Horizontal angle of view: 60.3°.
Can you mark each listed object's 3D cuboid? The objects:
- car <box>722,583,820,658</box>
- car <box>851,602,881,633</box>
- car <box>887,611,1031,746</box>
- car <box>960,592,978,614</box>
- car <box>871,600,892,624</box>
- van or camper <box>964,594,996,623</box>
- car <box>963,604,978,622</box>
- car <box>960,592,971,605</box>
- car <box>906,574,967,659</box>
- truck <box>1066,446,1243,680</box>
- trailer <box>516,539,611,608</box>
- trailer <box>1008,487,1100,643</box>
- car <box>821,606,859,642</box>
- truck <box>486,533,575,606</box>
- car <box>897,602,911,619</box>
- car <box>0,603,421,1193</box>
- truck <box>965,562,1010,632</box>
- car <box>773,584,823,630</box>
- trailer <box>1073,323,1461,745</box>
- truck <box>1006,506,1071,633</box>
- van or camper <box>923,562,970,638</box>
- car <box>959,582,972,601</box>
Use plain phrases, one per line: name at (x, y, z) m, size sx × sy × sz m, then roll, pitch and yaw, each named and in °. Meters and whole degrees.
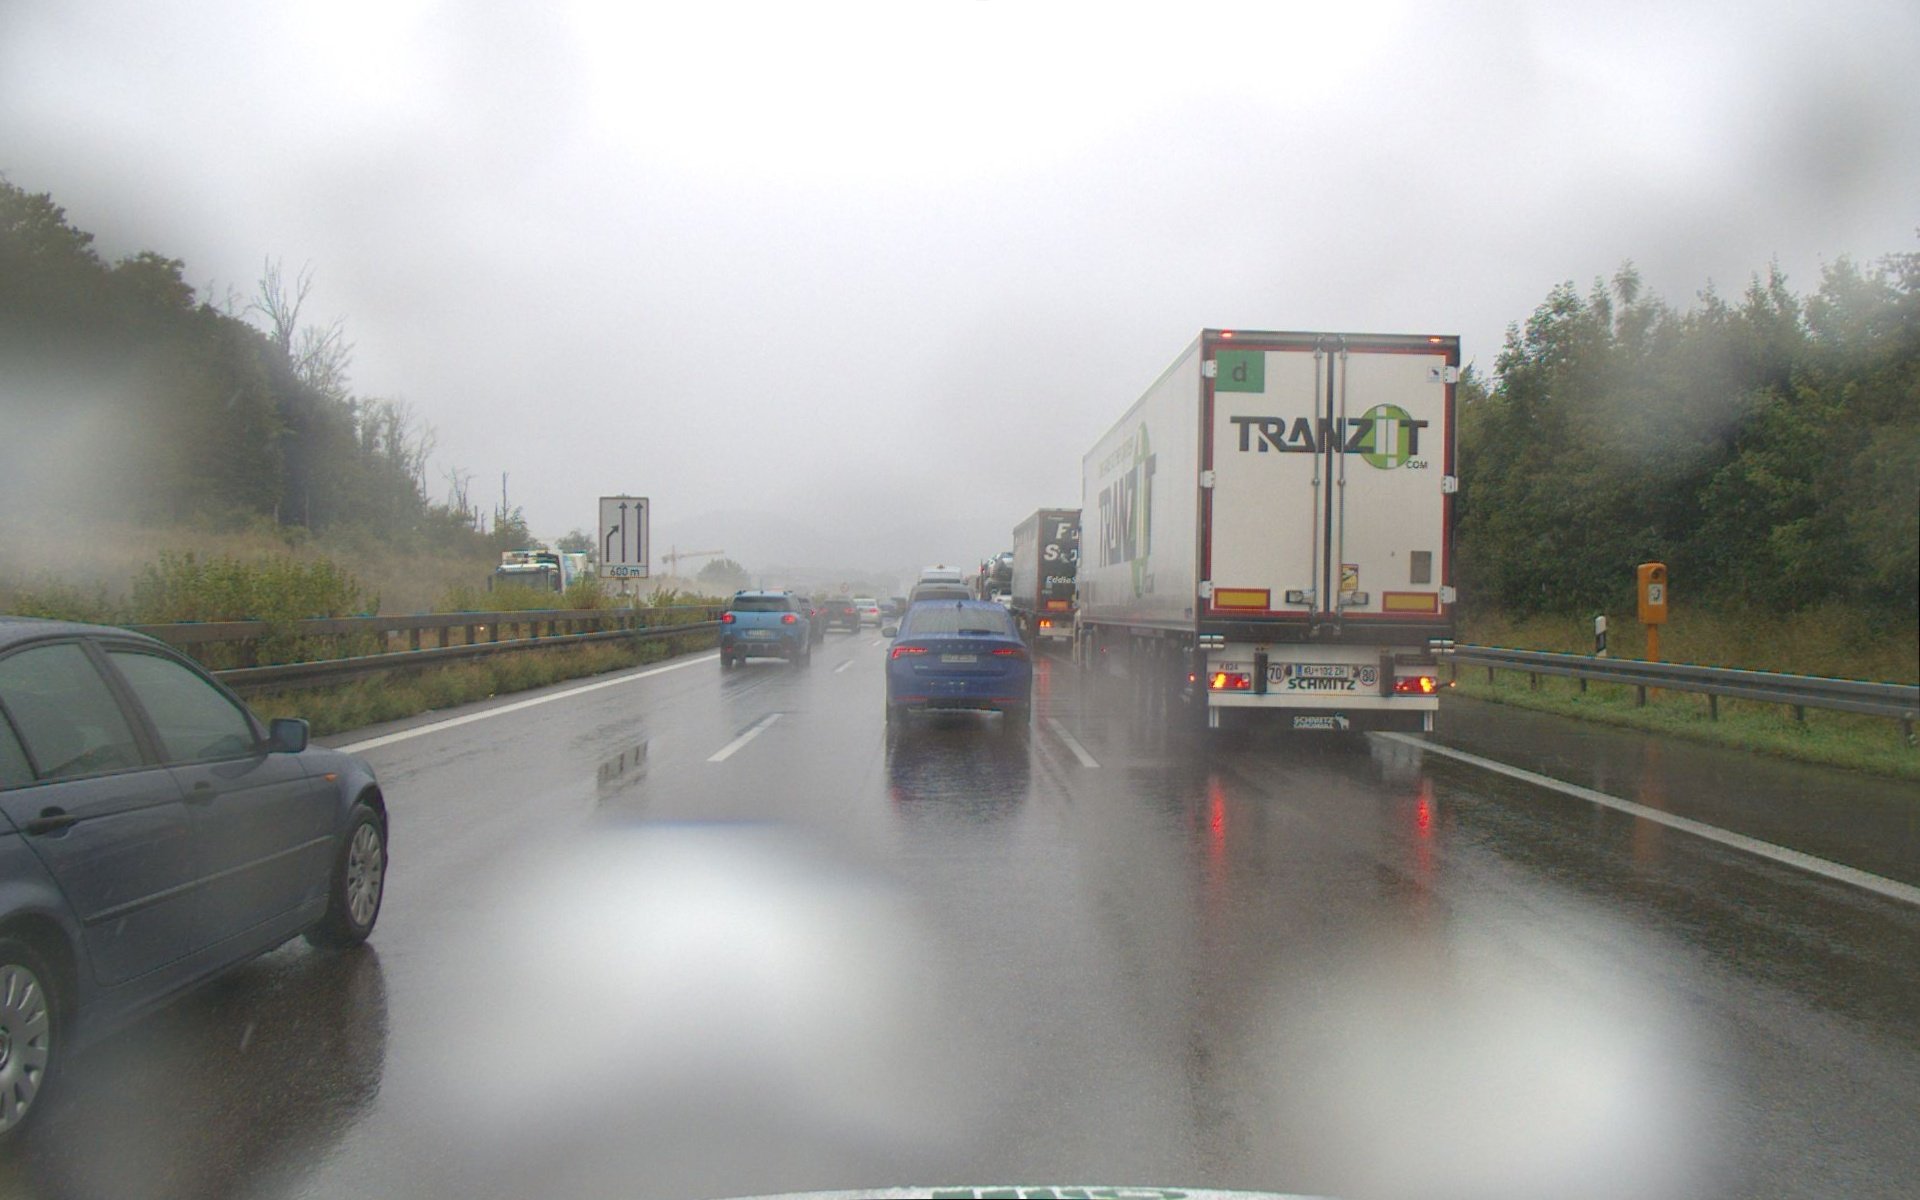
car at (-4.106, 0.427, 36.522) m, size 1.686 × 1.550 × 4.000 m, roll 0°, pitch 0°, yaw 0°
car at (-4.879, 0.878, 85.970) m, size 1.410 × 1.560 × 3.321 m, roll 0°, pitch 0°, yaw -1°
car at (-0.013, 0.897, 20.550) m, size 1.602 × 1.470 × 4.000 m, roll 0°, pitch 0°, yaw 0°
car at (0.757, 0.282, 138.076) m, size 1.419 × 1.815 × 3.408 m, roll 1°, pitch 0°, yaw -1°
car at (-5.867, 0.887, 123.818) m, size 1.419 × 1.815 × 3.408 m, roll 1°, pitch 0°, yaw -1°
van or camper at (1.140, 0.479, 96.669) m, size 1.736 × 1.653 × 4.483 m, roll 0°, pitch 1°, yaw -1°
car at (0.960, 1.125, 149.662) m, size 1.223 × 1.538 × 3.107 m, roll 0°, pitch 1°, yaw -1°
car at (0.747, -0.186, 227.482) m, size 1.419 × 1.815 × 3.408 m, roll 1°, pitch 0°, yaw -1°
car at (-0.529, 0.347, 37.213) m, size 1.309 × 1.811 × 3.321 m, roll 0°, pitch 0°, yaw -1°
truck at (3.406, -0.639, 30.063) m, size 2.577 × 3.894 × 4.790 m, roll 0°, pitch 0°, yaw -1°
trailer at (-17.651, -1.094, 74.076) m, size 2.430 × 2.767 × 7.323 m, roll -1°, pitch -1°, yaw 0°
trailer at (2.748, -0.991, 50.970) m, size 2.005 × 4.250 × 11.446 m, roll 0°, pitch 0°, yaw -1°
car at (-5.125, 1.005, 70.875) m, size 1.410 × 1.445 × 3.321 m, roll 0°, pitch 0°, yaw -1°
truck at (-17.662, -1.225, 68.240) m, size 2.430 × 2.767 × 4.527 m, roll -1°, pitch -1°, yaw 0°
car at (-6.323, 1.170, 186.539) m, size 1.419 × 1.815 × 3.408 m, roll 1°, pitch 0°, yaw -1°
car at (-3.233, 0.735, 5.380) m, size 1.683 × 1.424 × 4.228 m, roll 0°, pitch 0°, yaw -2°
truck at (1.407, -0.191, 87.092) m, size 1.953 × 3.481 × 8.029 m, roll 0°, pitch 1°, yaw -2°
car at (-5.246, 0.220, 53.769) m, size 1.331 × 1.456 × 3.363 m, roll 0°, pitch 0°, yaw -1°
trailer at (3.492, -0.685, 23.419) m, size 2.577 × 4.083 × 14.627 m, roll 0°, pitch 0°, yaw -1°
truck at (2.677, -1.032, 57.459) m, size 2.005 × 4.266 × 3.999 m, roll 0°, pitch 0°, yaw -1°
van or camper at (-0.534, -0.014, 64.552) m, size 1.761 × 2.855 × 4.767 m, roll 0°, pitch 0°, yaw -1°
car at (0.552, -0.900, 173.106) m, size 1.308 × 1.923 × 3.039 m, roll -1°, pitch 0°, yaw -1°
